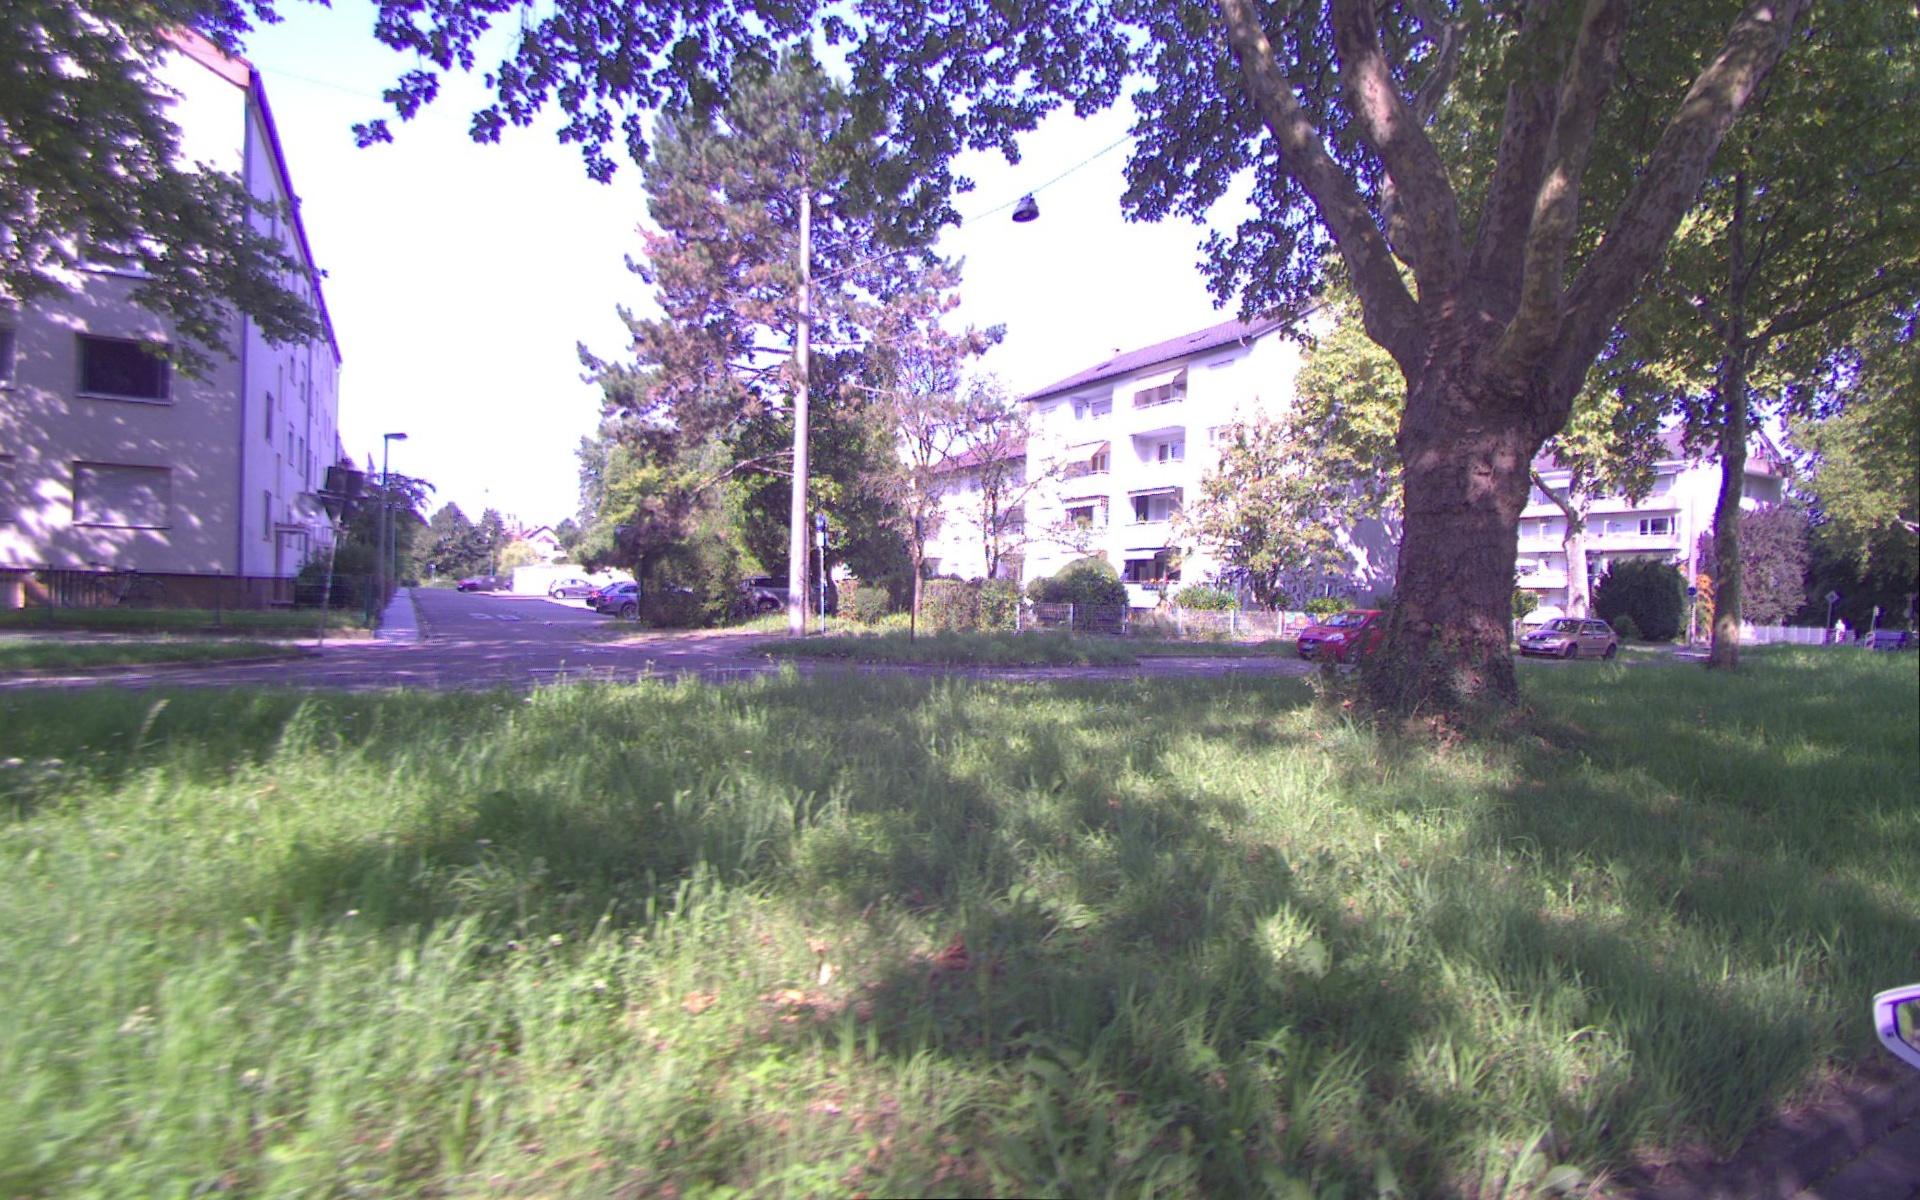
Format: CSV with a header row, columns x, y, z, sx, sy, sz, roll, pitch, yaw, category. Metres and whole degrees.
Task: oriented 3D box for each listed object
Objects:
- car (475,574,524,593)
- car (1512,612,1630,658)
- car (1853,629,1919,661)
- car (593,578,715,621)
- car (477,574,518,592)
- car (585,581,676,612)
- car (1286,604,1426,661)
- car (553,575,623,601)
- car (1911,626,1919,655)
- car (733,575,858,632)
x,y,z,sx,sy,sz,roll,pitch,yaw,category
-45.719,-1.646,99.673,4.333,1.786,1.837,2,1,-27,car
21.140,1.214,34.713,4.017,1.449,1.793,2,1,-31,car
48.025,2.323,51.818,4.490,1.528,1.690,2,0,-32,car
-12.137,-0.017,39.867,4.393,1.490,1.837,2,0,-27,car
-48.330,-1.798,104.889,3.783,1.786,1.837,2,1,-27,car
-16.080,-0.153,49.044,3.953,1.350,1.640,2,0,-30,car
11.228,0.938,28.432,4.017,1.471,1.531,2,1,-31,car
-26.178,-0.822,70.724,4.392,1.664,1.837,2,1,-27,car
55.334,2.338,56.541,3.956,1.588,1.690,2,0,-32,car
-6.138,0.132,37.550,4.210,1.926,1.837,2,1,-27,car
